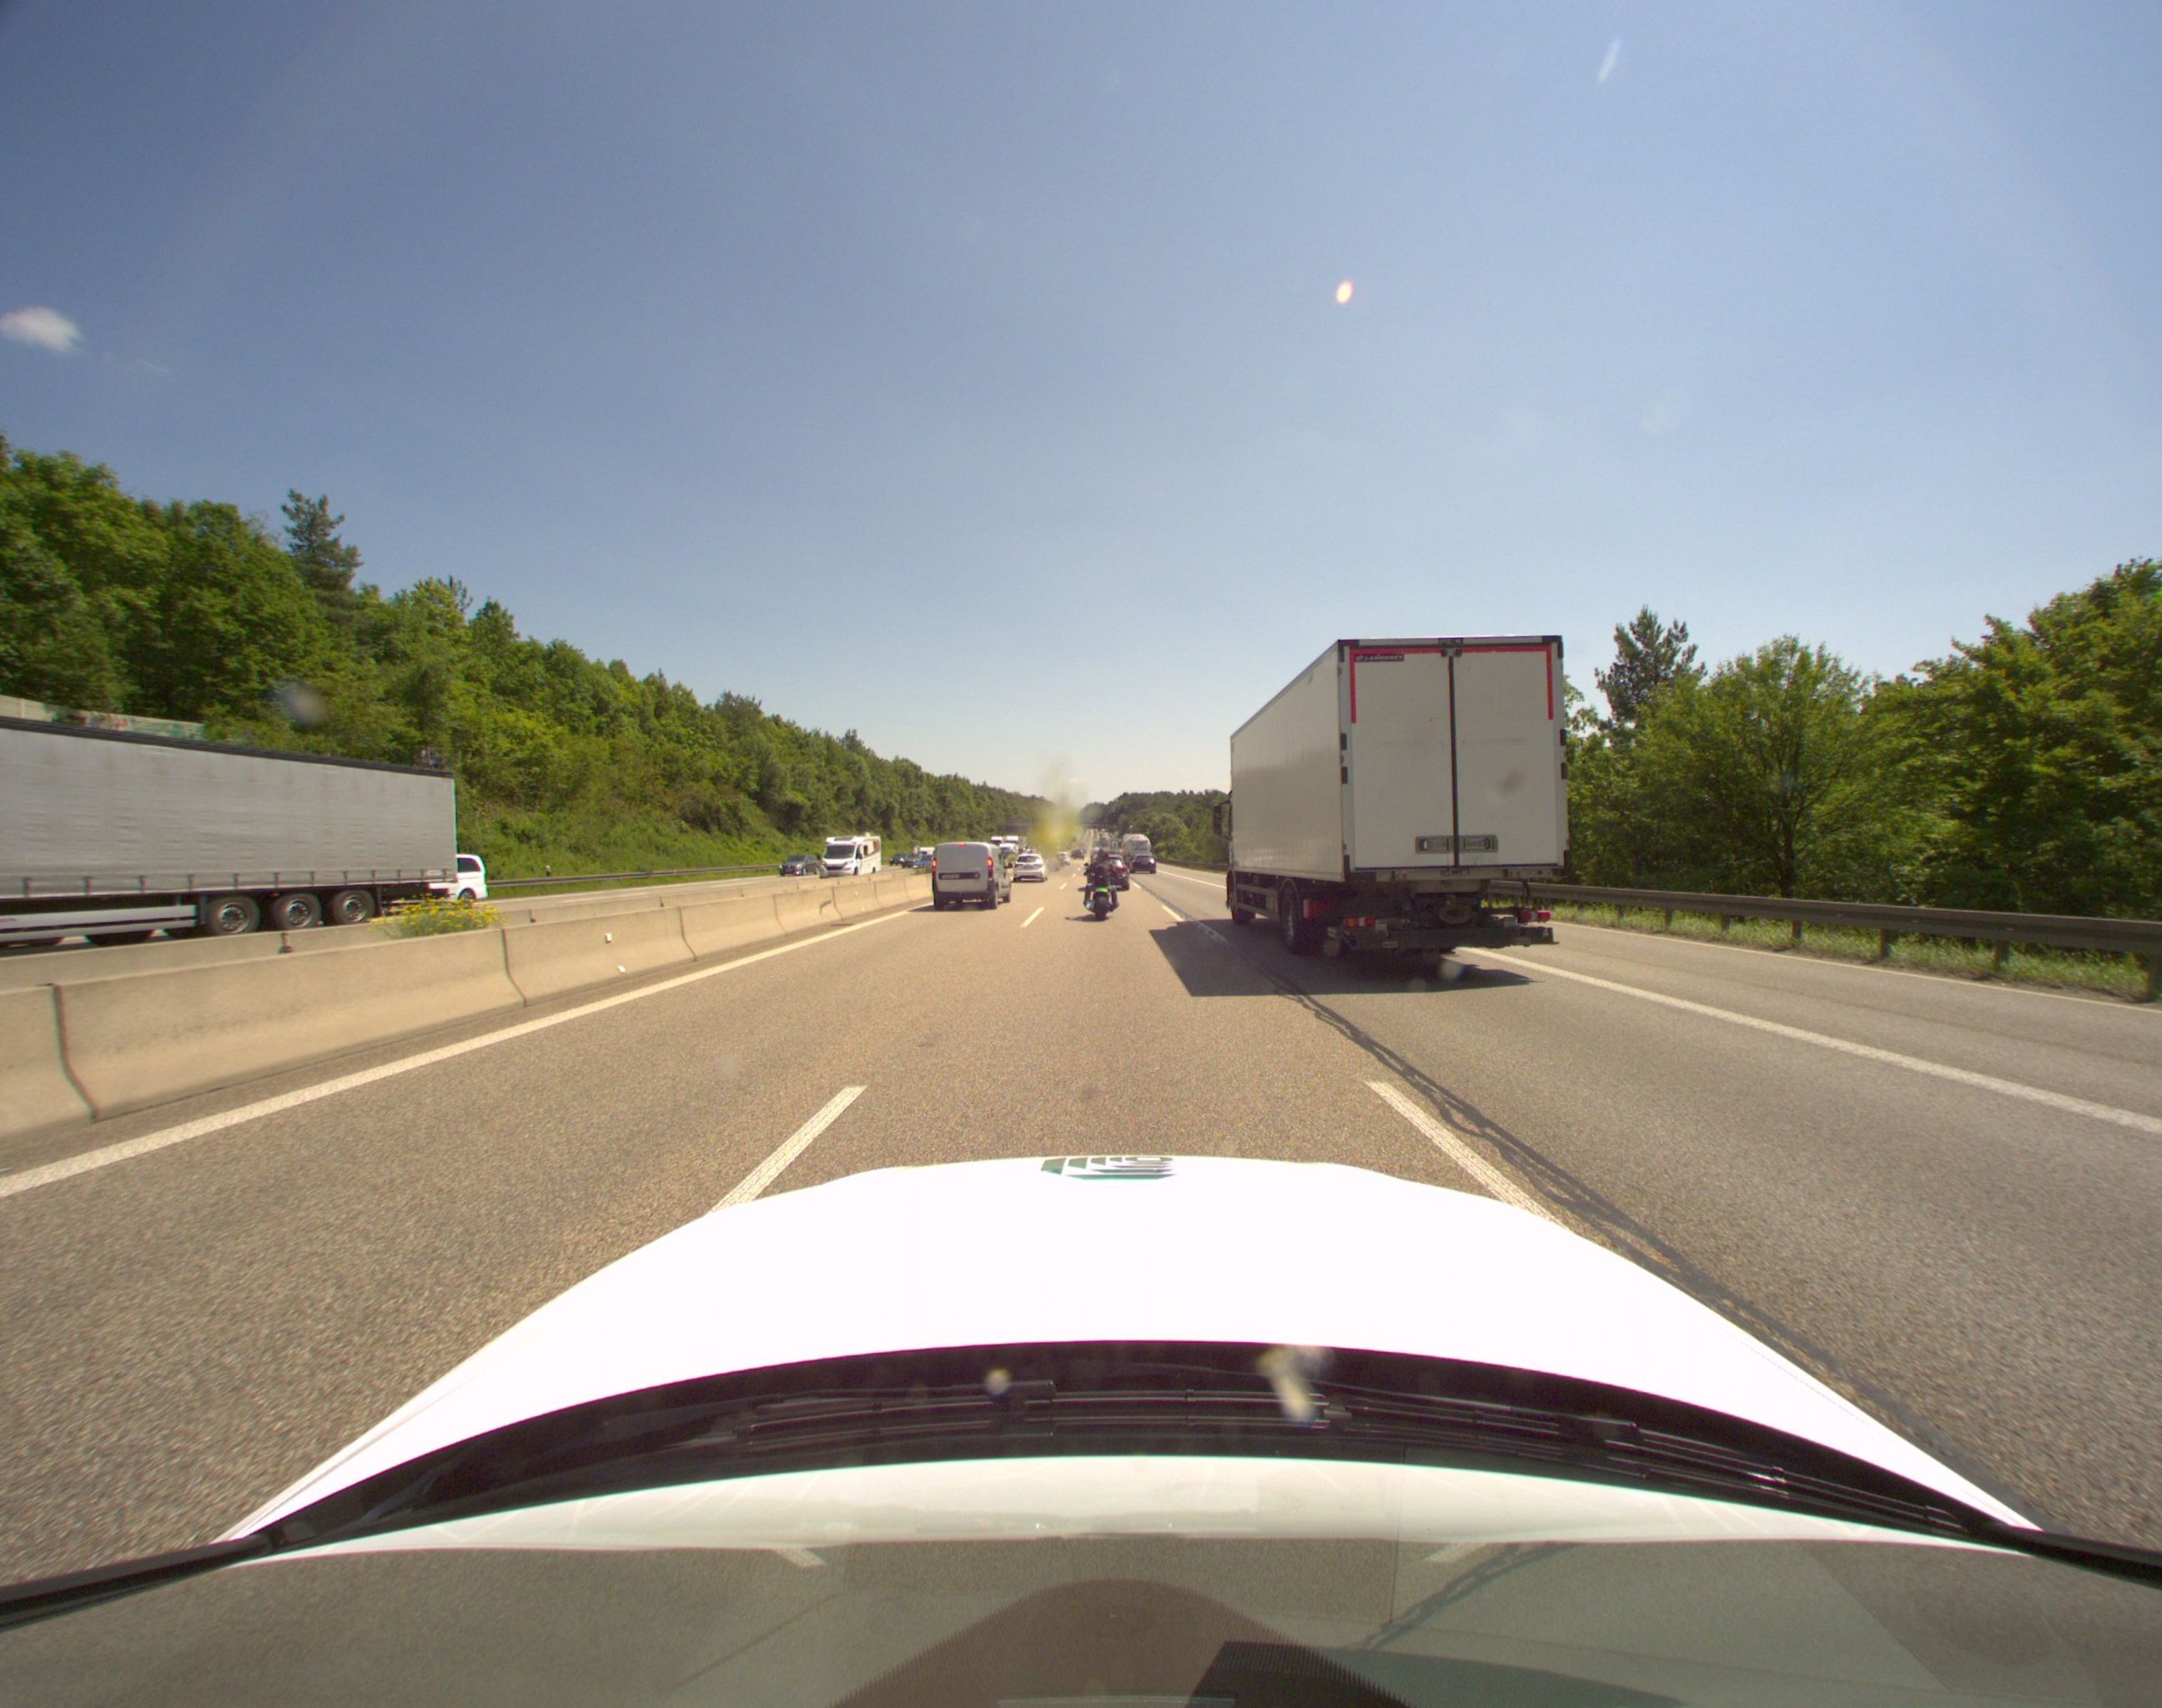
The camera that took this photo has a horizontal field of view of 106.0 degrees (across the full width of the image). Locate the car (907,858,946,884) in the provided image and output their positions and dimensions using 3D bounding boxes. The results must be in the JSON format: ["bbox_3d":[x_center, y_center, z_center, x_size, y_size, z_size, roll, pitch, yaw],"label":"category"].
[{"bbox_3d":[-9.997,1.072,52.965,1.705,1.538,4.129,-1,0,1],"label":"car"}]

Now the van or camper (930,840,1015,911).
[{"bbox_3d":[-3.122,0.605,24.195,1.789,1.892,4.161,-1,0,2],"label":"van or camper"}]

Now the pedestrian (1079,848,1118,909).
[{"bbox_3d":[0.422,0.557,19.066,0.846,1.362,0.962,-1,0,2],"label":"pedestrian"}]

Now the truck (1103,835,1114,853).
[{"bbox_3d":[8.147,-3.031,245.769,3.022,5.139,9.985,2,1,1],"label":"truck"}]

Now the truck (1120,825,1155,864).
[{"bbox_3d":[5.658,-0.930,82.985,2.977,3.671,9.289,-1,0,1],"label":"truck"}]

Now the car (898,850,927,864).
[{"bbox_3d":[-16.689,0.295,81.010,1.794,1.347,4.724,-1,0,1],"label":"car"}]

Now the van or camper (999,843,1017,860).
[{"bbox_3d":[-12.398,-0.419,138.648,2.222,2.761,6.838,-1,0,1],"label":"van or camper"}]

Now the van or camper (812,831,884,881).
[{"bbox_3d":[-13.962,0.135,49.356,2.262,2.735,6.806,-1,0,1],"label":"van or camper"}]

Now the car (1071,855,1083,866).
[{"bbox_3d":[-0.736,1.154,150.996,1.986,2.014,4.001,-1,0,2],"label":"car"}]

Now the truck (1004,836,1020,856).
[{"bbox_3d":[-14.892,-1.661,175.499,2.831,4.214,5.661,0,0,1],"label":"truck"}]

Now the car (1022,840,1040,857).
[{"bbox_3d":[-5.880,-0.591,96.707,1.886,1.948,3.998,-1,0,-1],"label":"car"}]

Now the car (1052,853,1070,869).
[{"bbox_3d":[-2.048,0.684,83.596,1.693,1.478,4.001,1,1,1],"label":"car"}]

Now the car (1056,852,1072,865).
[{"bbox_3d":[-1.942,0.543,95.257,1.693,1.478,4.001,1,1,1],"label":"car"}]

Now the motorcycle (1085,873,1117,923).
[{"bbox_3d":[0.480,0.996,19.083,0.689,1.015,2.123,1,0,2],"label":"motorcycle"}]

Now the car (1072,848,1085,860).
[{"bbox_3d":[-0.409,-0.013,135.935,1.873,1.859,4.001,1,1,1],"label":"car"}]

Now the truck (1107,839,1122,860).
[{"bbox_3d":[7.446,-1.027,181.657,3.022,4.542,9.985,2,1,1],"label":"truck"}]

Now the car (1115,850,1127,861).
[{"bbox_3d":[6.088,0.226,124.503,1.781,1.555,3.804,1,1,1],"label":"car"}]

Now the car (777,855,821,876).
[{"bbox_3d":[-20.951,0.836,60.716,1.571,1.462,4.390,-1,0,2],"label":"car"}]

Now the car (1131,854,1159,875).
[{"bbox_3d":[4.899,0.798,62.721,1.822,1.470,4.001,1,1,1],"label":"car"}]

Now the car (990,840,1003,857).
[{"bbox_3d":[-19.076,-1.265,183.975,2.440,3.873,4.566,-1,0,1],"label":"car"}]

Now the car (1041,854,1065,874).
[{"bbox_3d":[-2.278,0.805,66.442,1.693,1.478,4.001,1,1,1],"label":"car"}]

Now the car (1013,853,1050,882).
[{"bbox_3d":[-2.631,0.700,44.314,1.693,1.478,4.001,1,1,1],"label":"car"}]

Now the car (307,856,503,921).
[{"bbox_3d":[-21.111,0.988,25.809,1.803,1.810,5.109,-1,0,2],"label":"car"}]

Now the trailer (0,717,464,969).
[{"bbox_3d":[-18.196,-0.129,15.131,2.803,3.908,13.826,-1,0,0],"label":"trailer"}]

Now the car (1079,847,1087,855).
[{"bbox_3d":[0.425,-0.842,211.409,1.922,2.014,4.001,-1,0,2],"label":"car"}]

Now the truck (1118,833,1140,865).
[{"bbox_3d":[5.389,-0.541,91.927,1.988,3.522,4.748,-1,0,-1],"label":"truck"}]

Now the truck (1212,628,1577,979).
[{"bbox_3d":[4.330,-0.590,14.098,2.678,3.876,9.783,-2,0,2],"label":"truck"}]

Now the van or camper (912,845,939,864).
[{"bbox_3d":[-16.478,0.049,86.404,2.068,1.976,3.706,-1,0,2],"label":"van or camper"}]

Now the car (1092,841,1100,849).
[{"bbox_3d":[4.501,-2.711,247.632,2.495,2.587,5.017,1,1,1],"label":"car"}]

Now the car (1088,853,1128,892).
[{"bbox_3d":[1.194,0.756,34.650,1.526,1.510,4.005,-1,0,4],"label":"car"}]
